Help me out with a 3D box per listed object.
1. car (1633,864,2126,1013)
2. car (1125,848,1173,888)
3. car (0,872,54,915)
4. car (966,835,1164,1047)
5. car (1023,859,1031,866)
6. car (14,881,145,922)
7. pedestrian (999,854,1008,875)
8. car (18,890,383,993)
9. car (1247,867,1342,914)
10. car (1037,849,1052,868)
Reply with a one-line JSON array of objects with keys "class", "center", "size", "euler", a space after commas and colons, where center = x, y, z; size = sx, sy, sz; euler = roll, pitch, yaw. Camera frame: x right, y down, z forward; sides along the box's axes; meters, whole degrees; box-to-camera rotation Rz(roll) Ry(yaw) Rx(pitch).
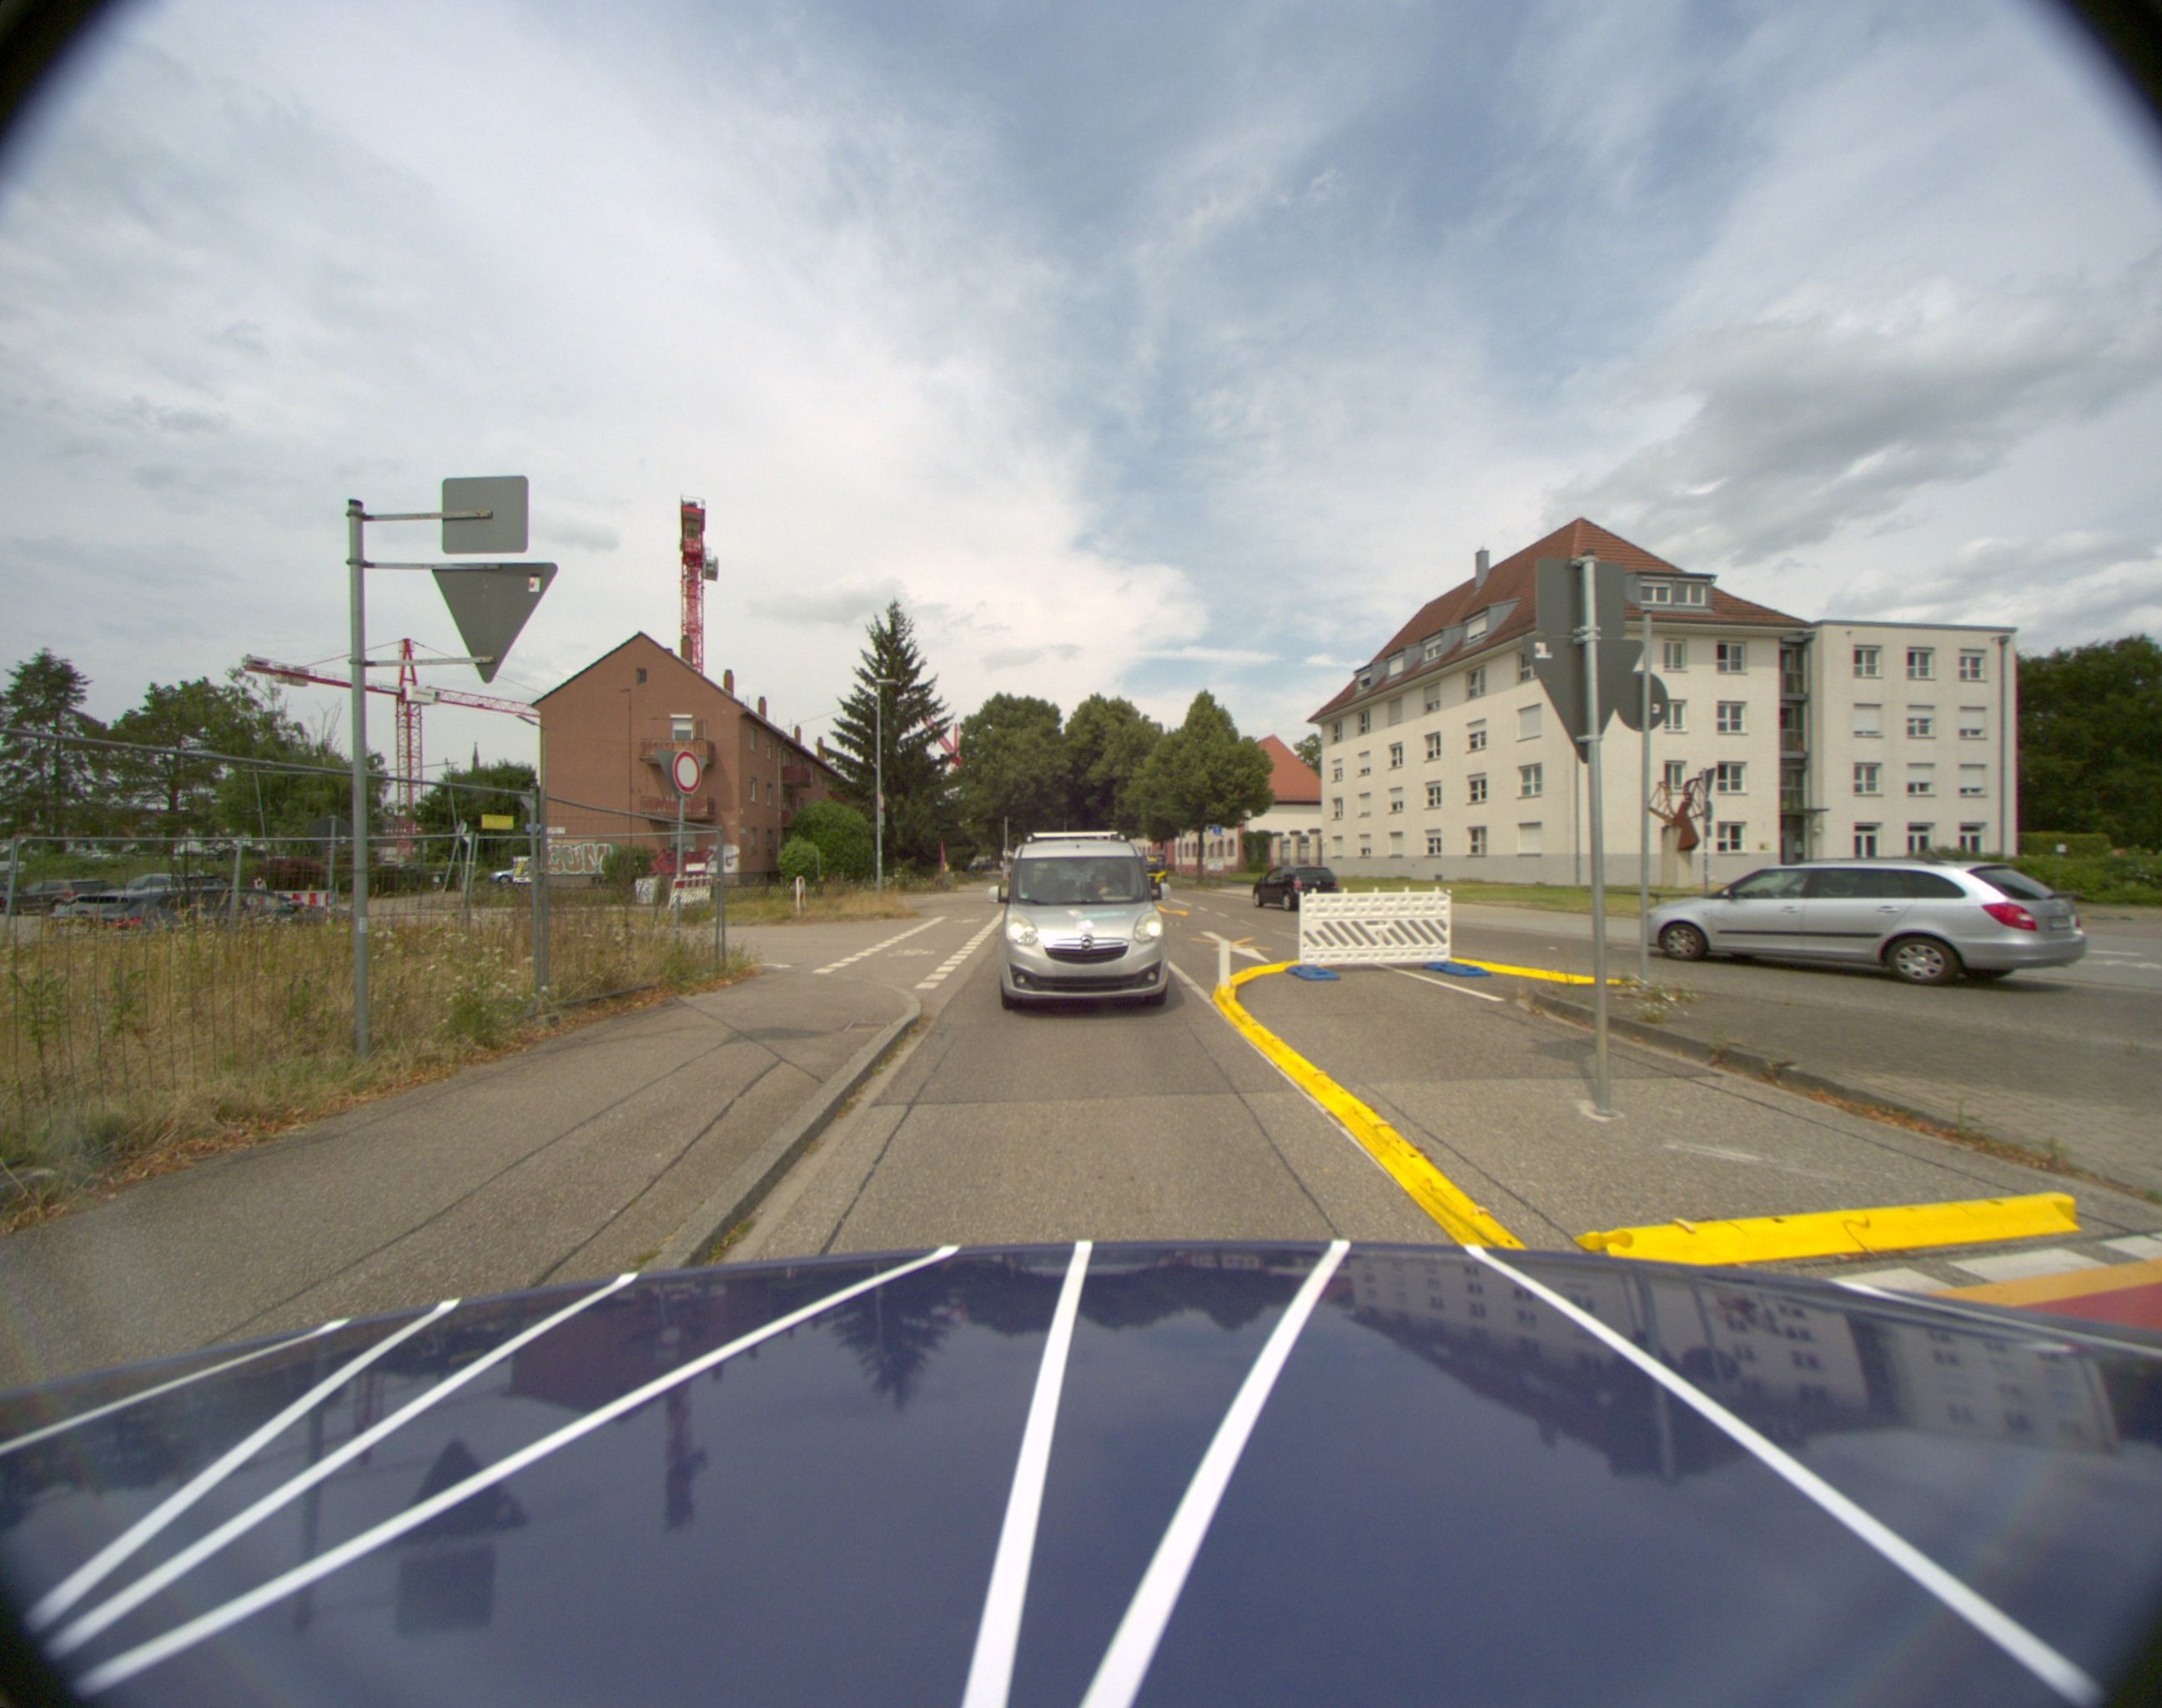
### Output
[{"class": "car", "center": [10.065, 0.899, 10.085], "size": [1.631, 1.510, 4.211], "euler": [0, 0, -22]}, {"class": "car", "center": [4.001, 0.800, 45.614], "size": [1.999, 2.259, 5.158], "euler": [-1, 0, -4]}, {"class": "car", "center": [-46.722, 1.676, 32.457], "size": [4.006, 1.739, 1.859], "euler": [-1, 0, 12]}, {"class": "car", "center": [-0.171, 0.810, 9.332], "size": [1.810, 1.936, 4.584], "euler": [-1, 0, -1]}, {"class": "car", "center": [-10.807, 1.703, 152.191], "size": [1.677, 1.402, 3.918], "euler": [-1, 0, -5]}, {"class": "car", "center": [-41.682, 1.955, 31.650], "size": [4.006, 1.593, 1.804], "euler": [-1, 0, 13]}, {"class": "pedestrian", "center": [-7.531, 0.989, 74.103], "size": [0.856, 2.002, 0.731], "euler": [-1, 0, -8]}, {"class": "car", "center": [-16.183, 1.518, 14.388], "size": [1.765, 1.465, 4.261], "euler": [-1, 0, 5]}, {"class": "car", "center": [6.816, 1.123, 24.651], "size": [1.632, 1.406, 3.720], "euler": [1, -1, -7]}, {"class": "car", "center": [-5.507, 0.664, 114.636], "size": [2.070, 2.670, 5.968], "euler": [-1, 0, -4]}]
